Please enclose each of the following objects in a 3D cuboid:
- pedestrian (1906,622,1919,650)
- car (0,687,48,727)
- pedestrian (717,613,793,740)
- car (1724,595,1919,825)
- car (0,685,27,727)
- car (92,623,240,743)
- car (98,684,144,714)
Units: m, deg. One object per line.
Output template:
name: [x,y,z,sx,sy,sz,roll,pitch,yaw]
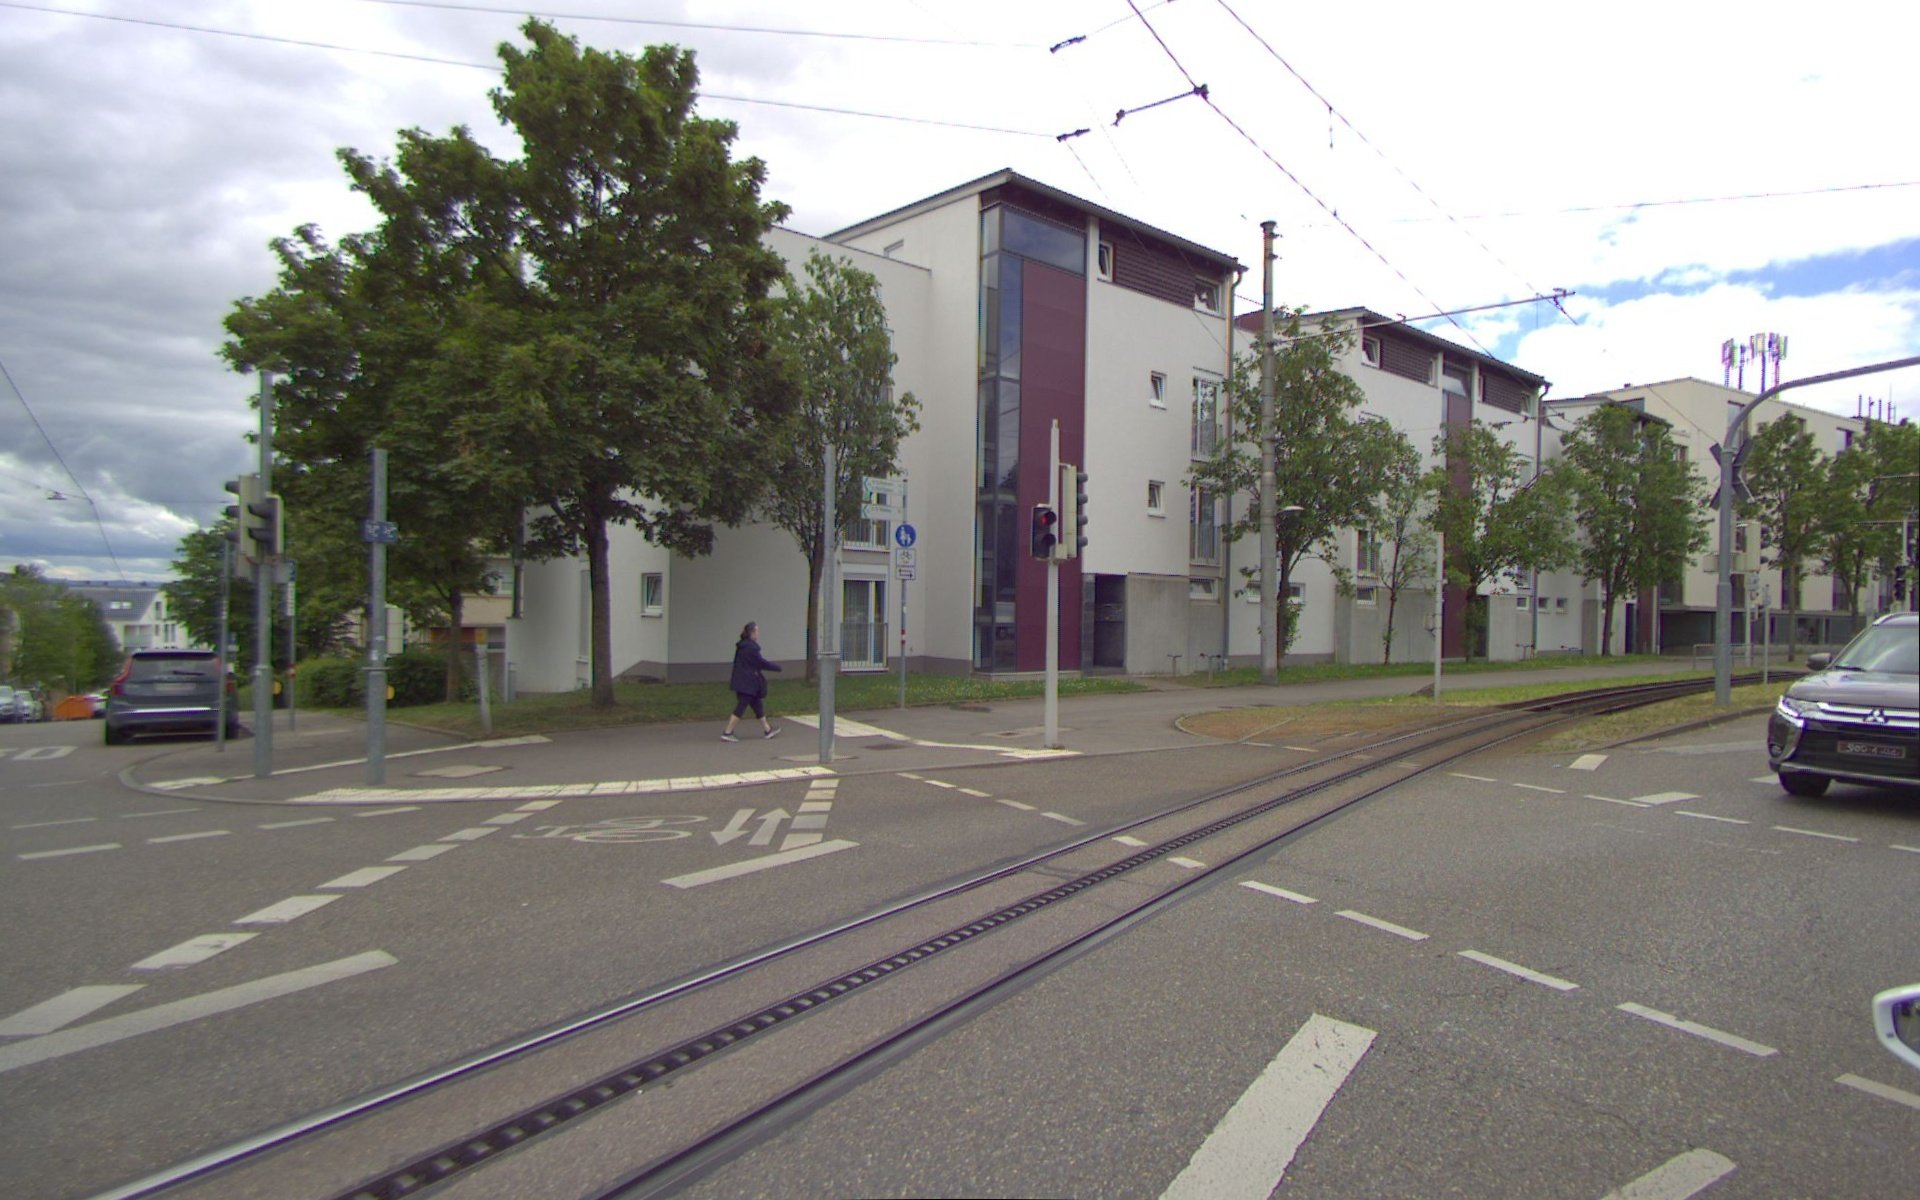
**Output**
pedestrian: [58.918,2.217,61.931,0.776,1.717,0.610,2,0,-30]
car: [-40.825,4.611,43.416,1.780,1.619,3.957,2,-5,-38]
pedestrian: [-2.826,1.026,13.831,0.811,1.666,0.670,-1,0,-35]
car: [9.096,0.922,9.132,4.437,1.692,1.821,2,2,-31]
car: [-37.617,4.109,38.944,1.780,1.558,3.957,2,-5,-38]
car: [-15.279,1.584,19.550,1.981,2.039,4.427,2,-5,-35]
car: [-47.148,5.537,56.515,1.780,1.558,3.959,1,-5,-37]
